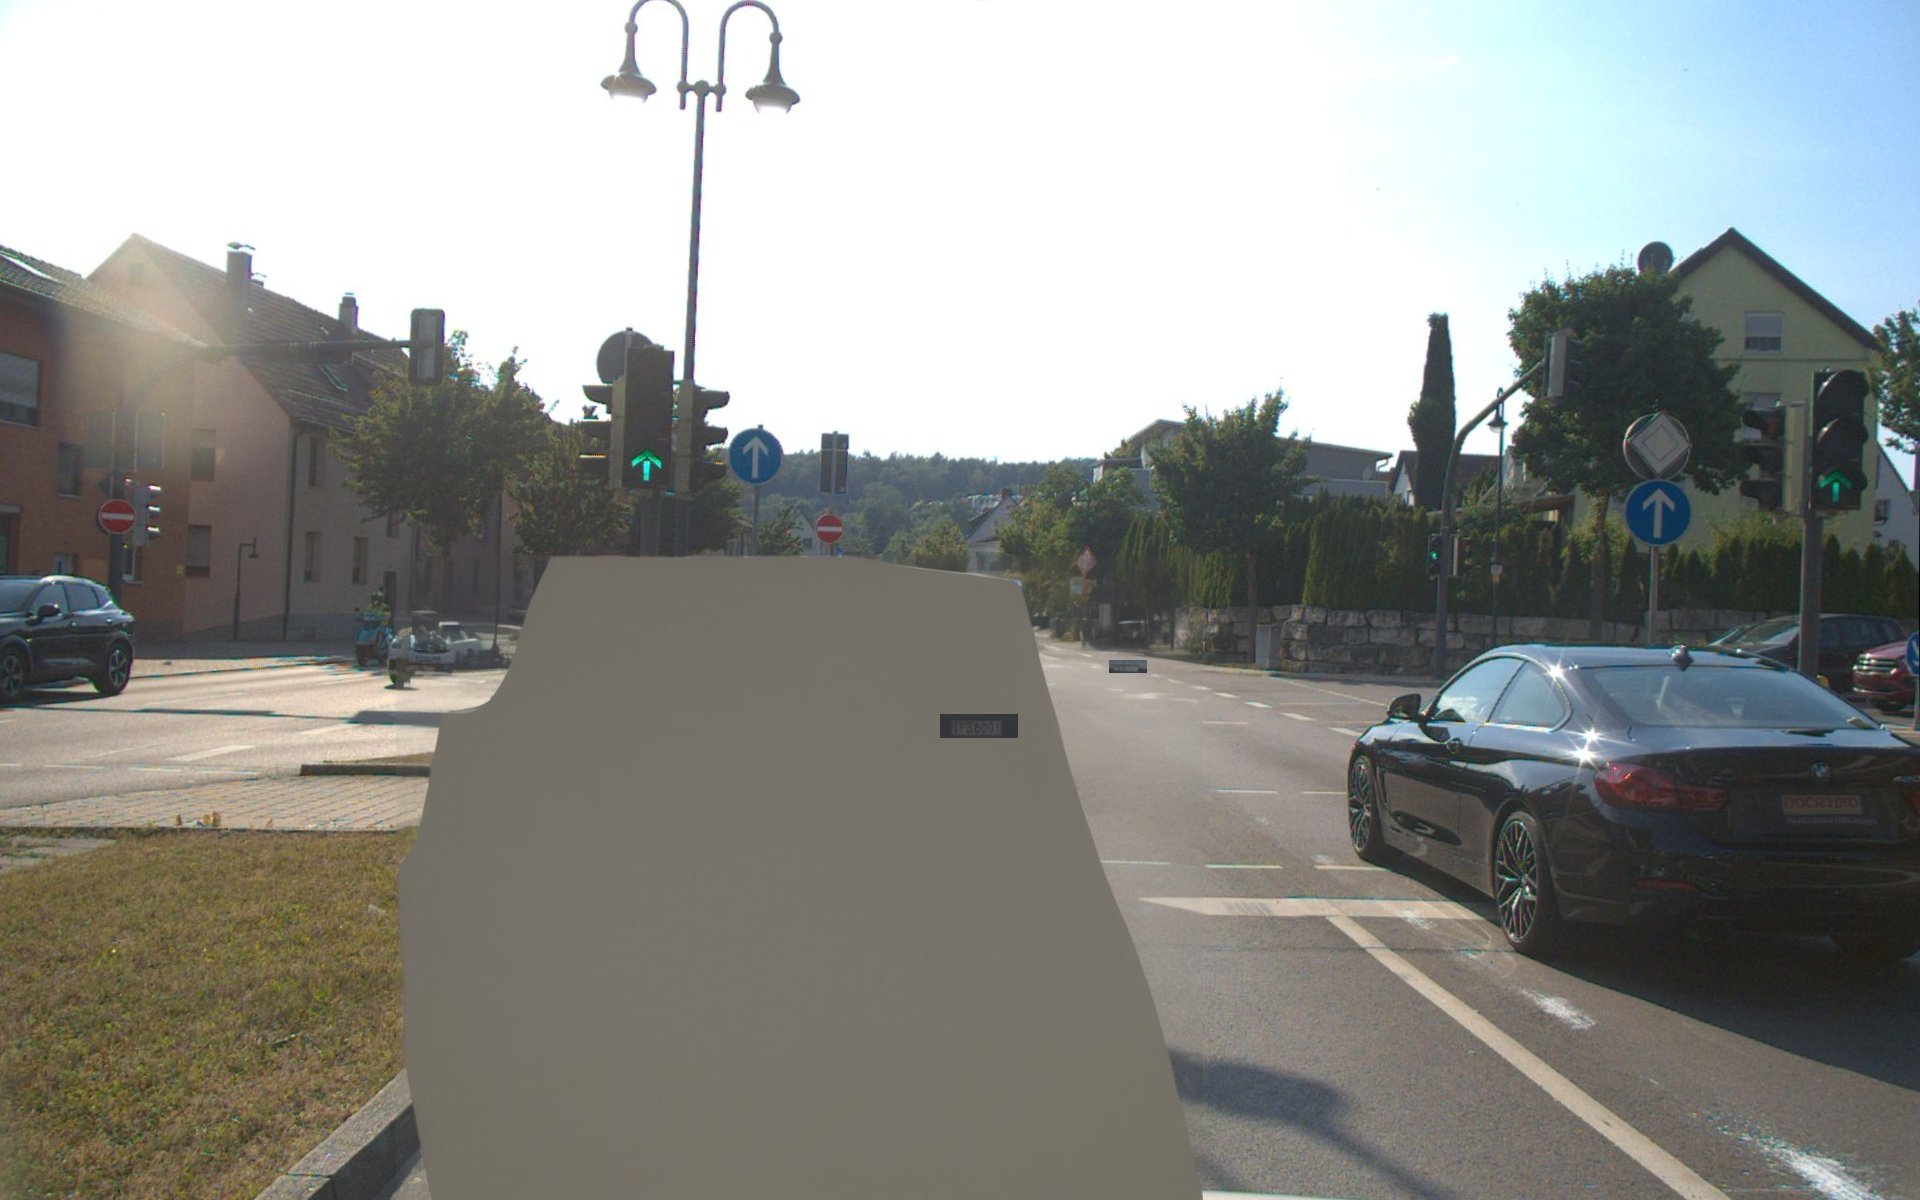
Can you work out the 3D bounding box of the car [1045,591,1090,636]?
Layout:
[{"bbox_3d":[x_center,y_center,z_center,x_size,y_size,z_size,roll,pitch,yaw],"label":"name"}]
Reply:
[{"bbox_3d":[6.985,0.856,108.370,2.070,2.769,6.437,1,0,-4],"label":"car"}]

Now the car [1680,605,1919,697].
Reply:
[{"bbox_3d":[15.128,0.894,29.675,3.708,1.569,1.599,1,0,1],"label":"car"}]

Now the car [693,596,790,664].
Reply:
[{"bbox_3d":[-5.285,0.692,40.521,1.798,1.514,4.565,1,0,-1],"label":"car"}]

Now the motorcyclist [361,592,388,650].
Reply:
[{"bbox_3d":[-12.787,0.453,36.152,0.395,1.250,0.462,1,0,0],"label":"motorcyclist"}]

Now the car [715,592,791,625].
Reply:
[{"bbox_3d":[-17.172,0.666,137.299,6.035,2.487,2.248,2,0,-3],"label":"car"}]

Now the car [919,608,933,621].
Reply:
[{"bbox_3d":[-4.240,1.841,204.230,1.565,1.511,3.472,2,0,-4],"label":"car"}]

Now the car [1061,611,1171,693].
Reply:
[{"bbox_3d":[2.966,0.971,32.055,1.718,1.439,3.421,1,0,-1],"label":"car"}]

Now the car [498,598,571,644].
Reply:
[{"bbox_3d":[-14.804,0.706,57.728,1.586,1.537,4.131,1,0,-2],"label":"car"}]

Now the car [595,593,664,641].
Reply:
[{"bbox_3d":[-11.995,0.615,60.283,1.651,1.640,4.412,1,0,-1],"label":"car"}]

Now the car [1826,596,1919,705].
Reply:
[{"bbox_3d":[16.300,0.808,26.308,4.158,1.654,1.859,1,0,-7],"label":"car"}]

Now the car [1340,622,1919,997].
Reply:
[{"bbox_3d":[3.364,0.854,8.630,1.665,1.393,4.261,1,0,-2],"label":"car"}]

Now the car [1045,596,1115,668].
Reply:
[{"bbox_3d":[3.134,0.808,43.630,1.570,1.798,3.410,1,0,0],"label":"car"}]

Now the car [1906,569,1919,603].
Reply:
[{"bbox_3d":[41.687,-0.581,70.880,1.779,1.368,3.989,1,0,32],"label":"car"}]

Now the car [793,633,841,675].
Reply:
[{"bbox_3d":[-5.509,2.075,63.934,1.501,1.487,3.506,1,0,0],"label":"car"}]

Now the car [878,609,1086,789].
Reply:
[{"bbox_3d":[0.152,0.839,15.651,1.736,1.482,3.514,1,0,-1],"label":"car"}]

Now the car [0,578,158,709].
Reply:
[{"bbox_3d":[-12.762,0.522,22.093,1.816,1.623,4.461,1,0,1],"label":"car"}]

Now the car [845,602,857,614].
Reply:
[{"bbox_3d":[-14.208,1.070,215.960,1.565,1.511,3.472,2,0,-4],"label":"car"}]

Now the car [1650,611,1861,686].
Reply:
[{"bbox_3d":[16.160,0.974,33.678,3.527,1.475,1.625,0,-1,-5],"label":"car"}]

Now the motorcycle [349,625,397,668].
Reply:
[{"bbox_3d":[-12.797,1.006,36.095,0.404,0.875,1.763,1,0,0],"label":"motorcycle"}]

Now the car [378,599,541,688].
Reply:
[{"bbox_3d":[-8.766,0.721,29.320,1.721,1.436,3.999,1,0,-1],"label":"car"}]

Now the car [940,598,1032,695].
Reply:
[{"bbox_3d":[0.442,0.825,31.510,1.559,1.628,3.893,1,1,-1],"label":"car"}]

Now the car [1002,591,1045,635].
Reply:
[{"bbox_3d":[4.088,0.833,107.923,2.107,2.727,6.598,1,0,-4],"label":"car"}]

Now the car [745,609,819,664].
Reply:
[{"bbox_3d":[-4.952,1.012,46.455,1.556,1.452,3.578,1,-1,2],"label":"car"}]
